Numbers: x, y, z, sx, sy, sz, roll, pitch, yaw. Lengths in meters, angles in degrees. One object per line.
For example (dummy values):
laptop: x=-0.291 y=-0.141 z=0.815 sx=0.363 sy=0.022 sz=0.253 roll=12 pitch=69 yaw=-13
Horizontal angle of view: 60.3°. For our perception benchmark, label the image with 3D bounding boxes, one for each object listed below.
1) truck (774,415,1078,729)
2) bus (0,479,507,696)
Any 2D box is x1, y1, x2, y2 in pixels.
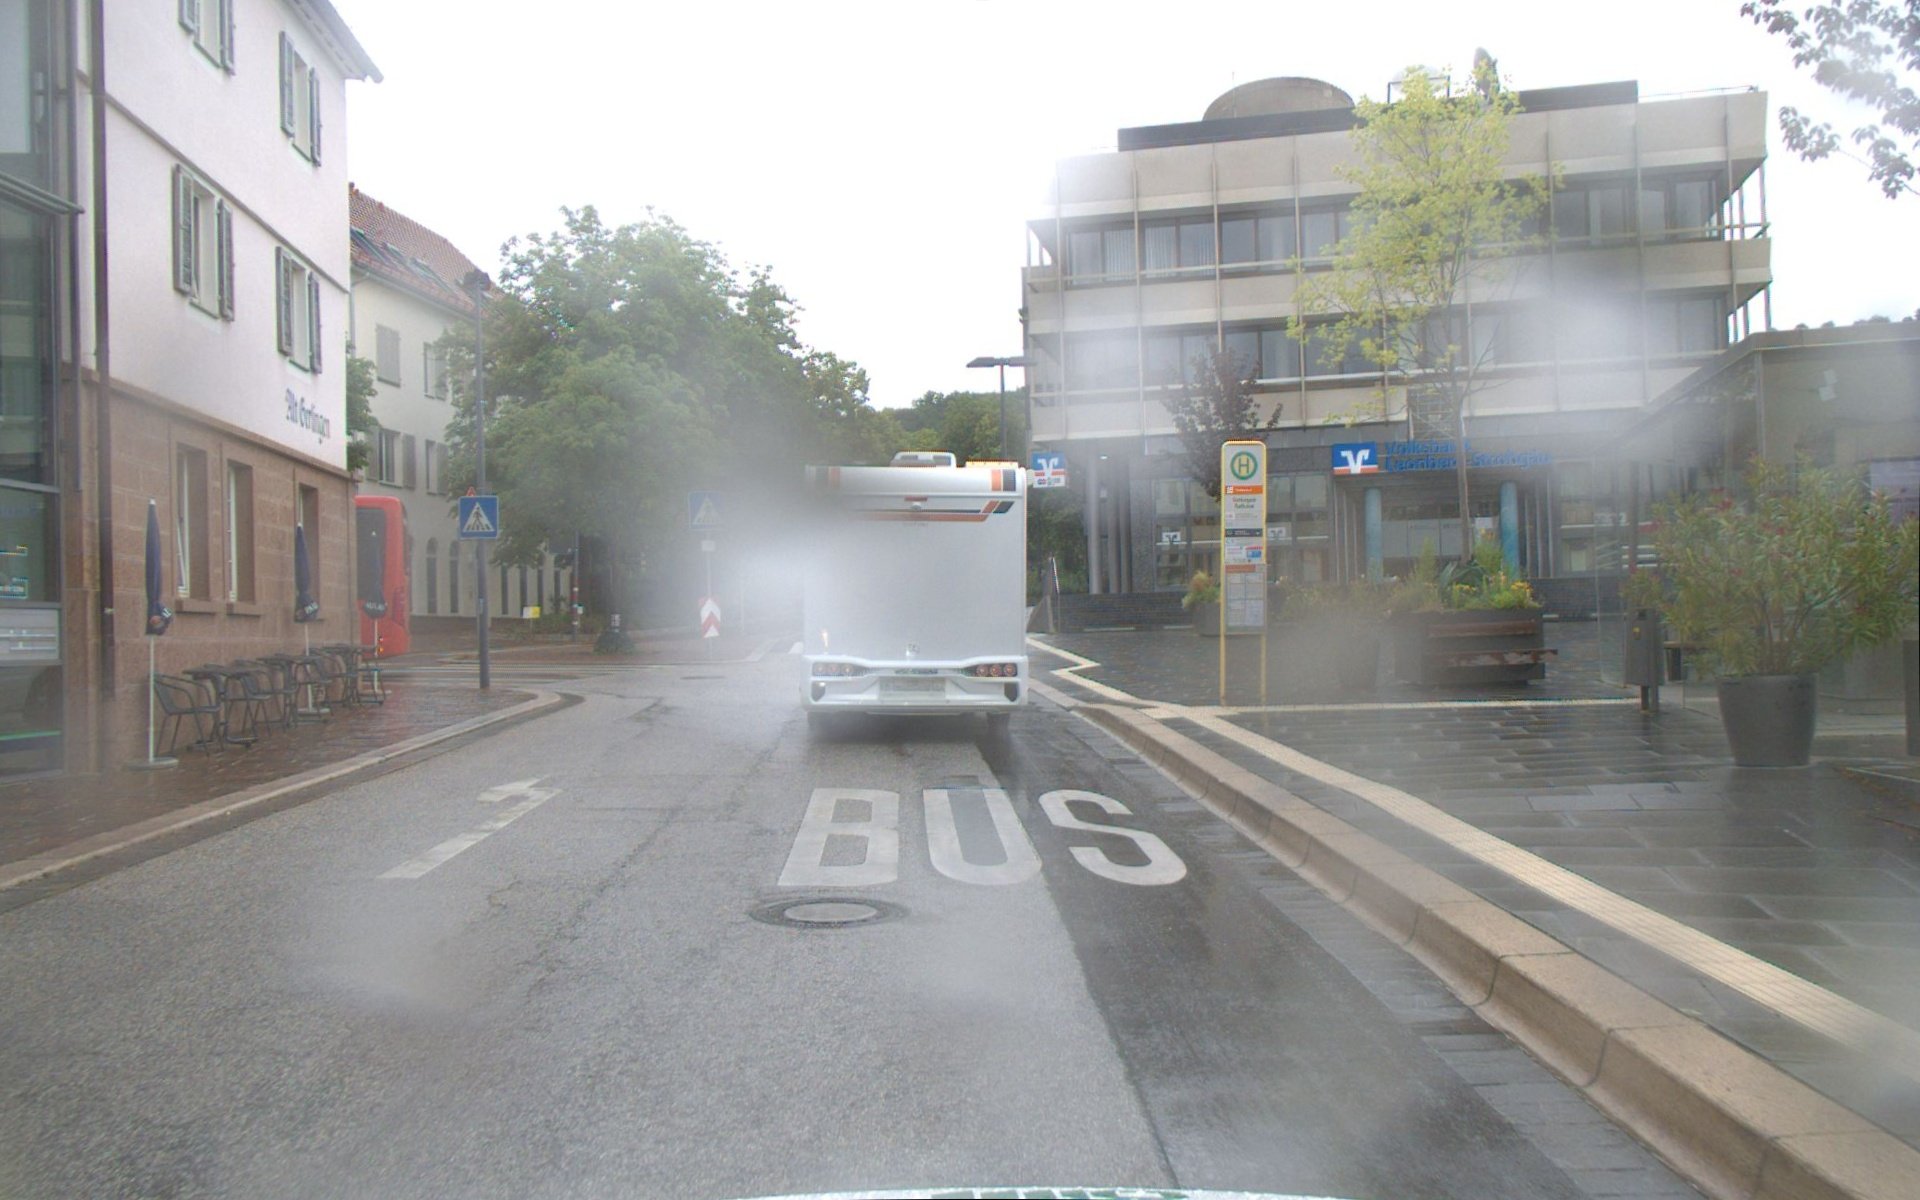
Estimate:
truck: x=-0.484 y=-0.242 z=18.692 sx=2.750 sy=2.845 sz=6.102 roll=-3 pitch=-1 yaw=-3
bus: x=-12.909 y=-0.196 z=27.786 sx=9.965 sy=3.201 sz=3.016 roll=-3 pitch=-1 yaw=-20
